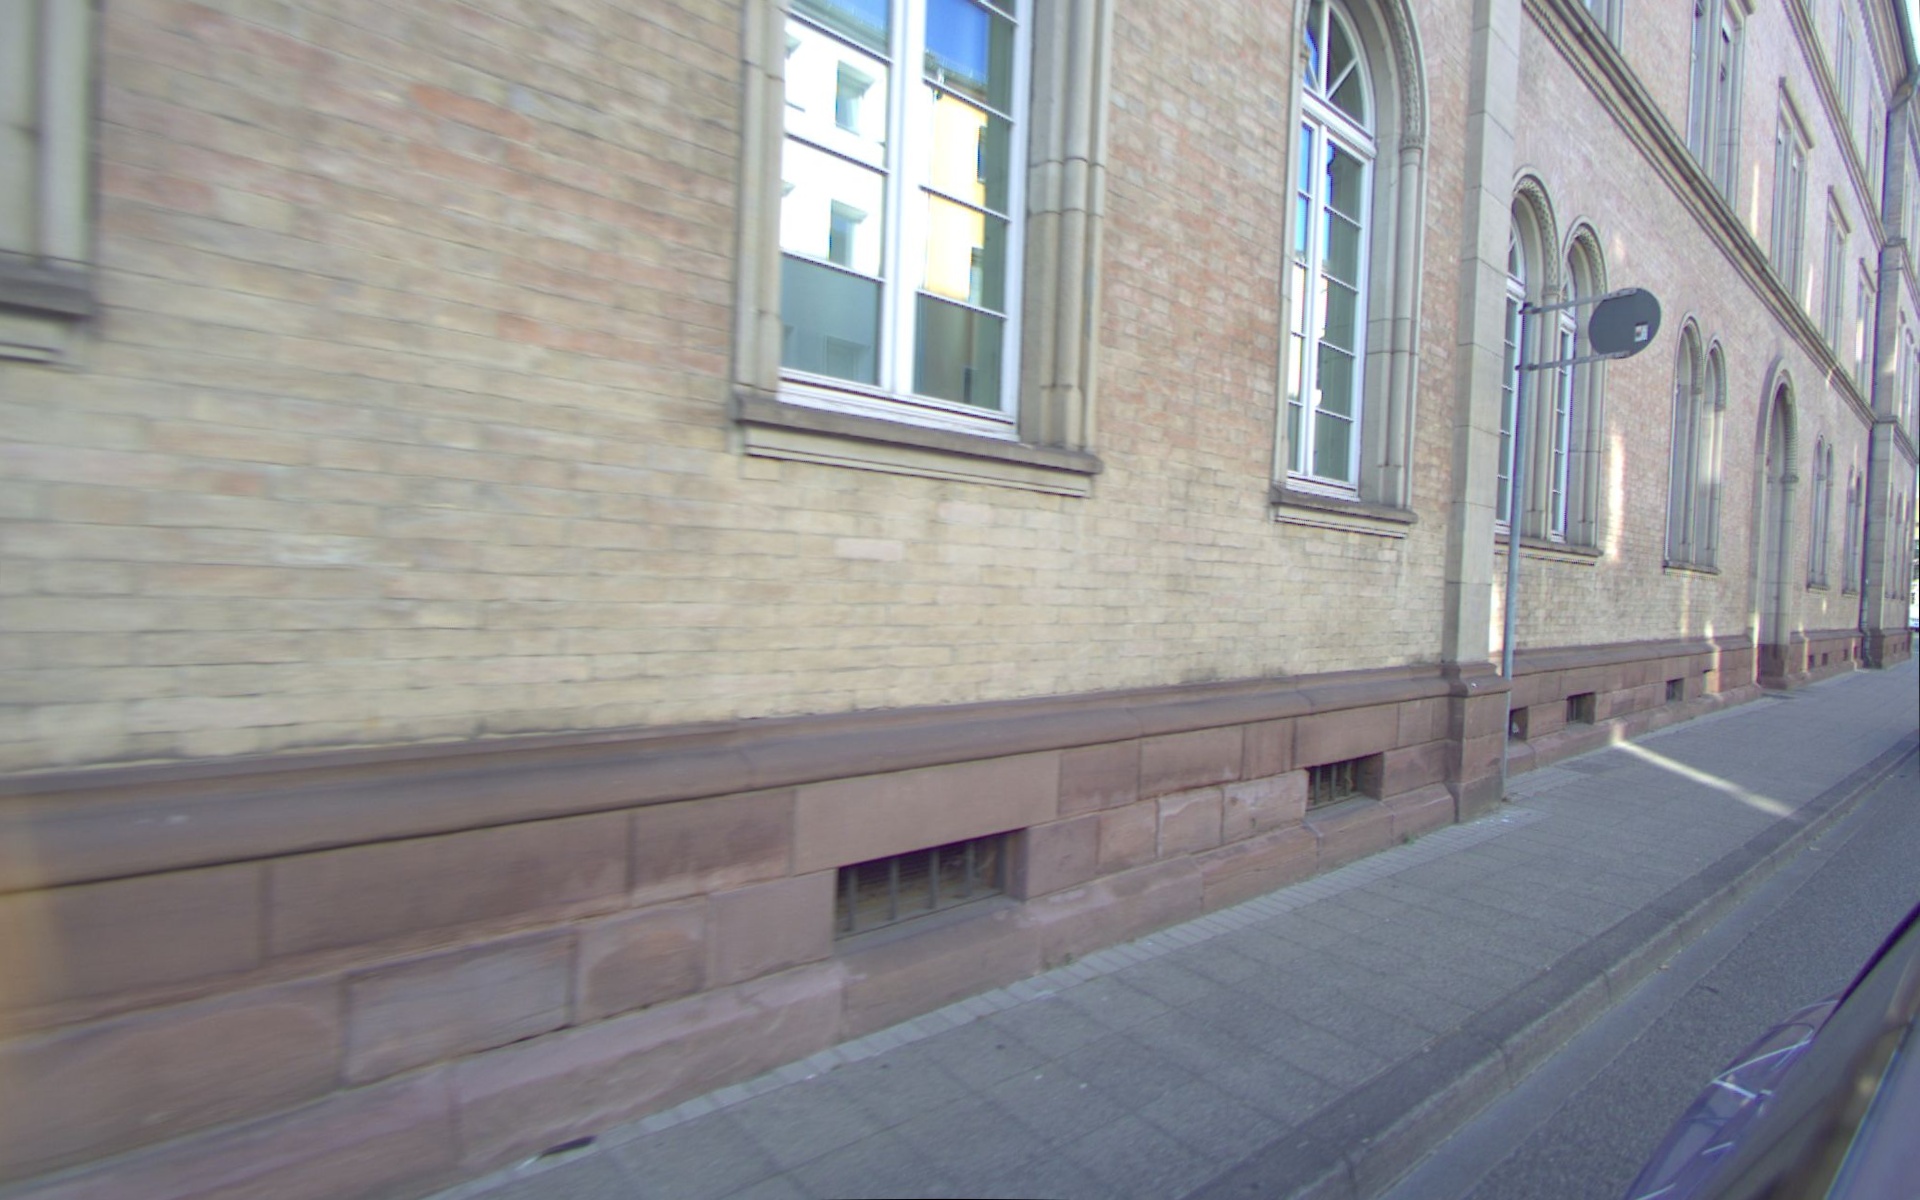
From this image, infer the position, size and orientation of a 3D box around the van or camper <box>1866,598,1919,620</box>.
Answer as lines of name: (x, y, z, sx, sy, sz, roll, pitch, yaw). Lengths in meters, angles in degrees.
van or camper: (95.599, 0.904, 102.919, 4.686, 2.113, 1.982, 3, 1, 27)

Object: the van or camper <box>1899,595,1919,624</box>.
van or camper: (71.624, 0.718, 75.109, 2.150, 2.038, 4.912, 3, 2, 36)
